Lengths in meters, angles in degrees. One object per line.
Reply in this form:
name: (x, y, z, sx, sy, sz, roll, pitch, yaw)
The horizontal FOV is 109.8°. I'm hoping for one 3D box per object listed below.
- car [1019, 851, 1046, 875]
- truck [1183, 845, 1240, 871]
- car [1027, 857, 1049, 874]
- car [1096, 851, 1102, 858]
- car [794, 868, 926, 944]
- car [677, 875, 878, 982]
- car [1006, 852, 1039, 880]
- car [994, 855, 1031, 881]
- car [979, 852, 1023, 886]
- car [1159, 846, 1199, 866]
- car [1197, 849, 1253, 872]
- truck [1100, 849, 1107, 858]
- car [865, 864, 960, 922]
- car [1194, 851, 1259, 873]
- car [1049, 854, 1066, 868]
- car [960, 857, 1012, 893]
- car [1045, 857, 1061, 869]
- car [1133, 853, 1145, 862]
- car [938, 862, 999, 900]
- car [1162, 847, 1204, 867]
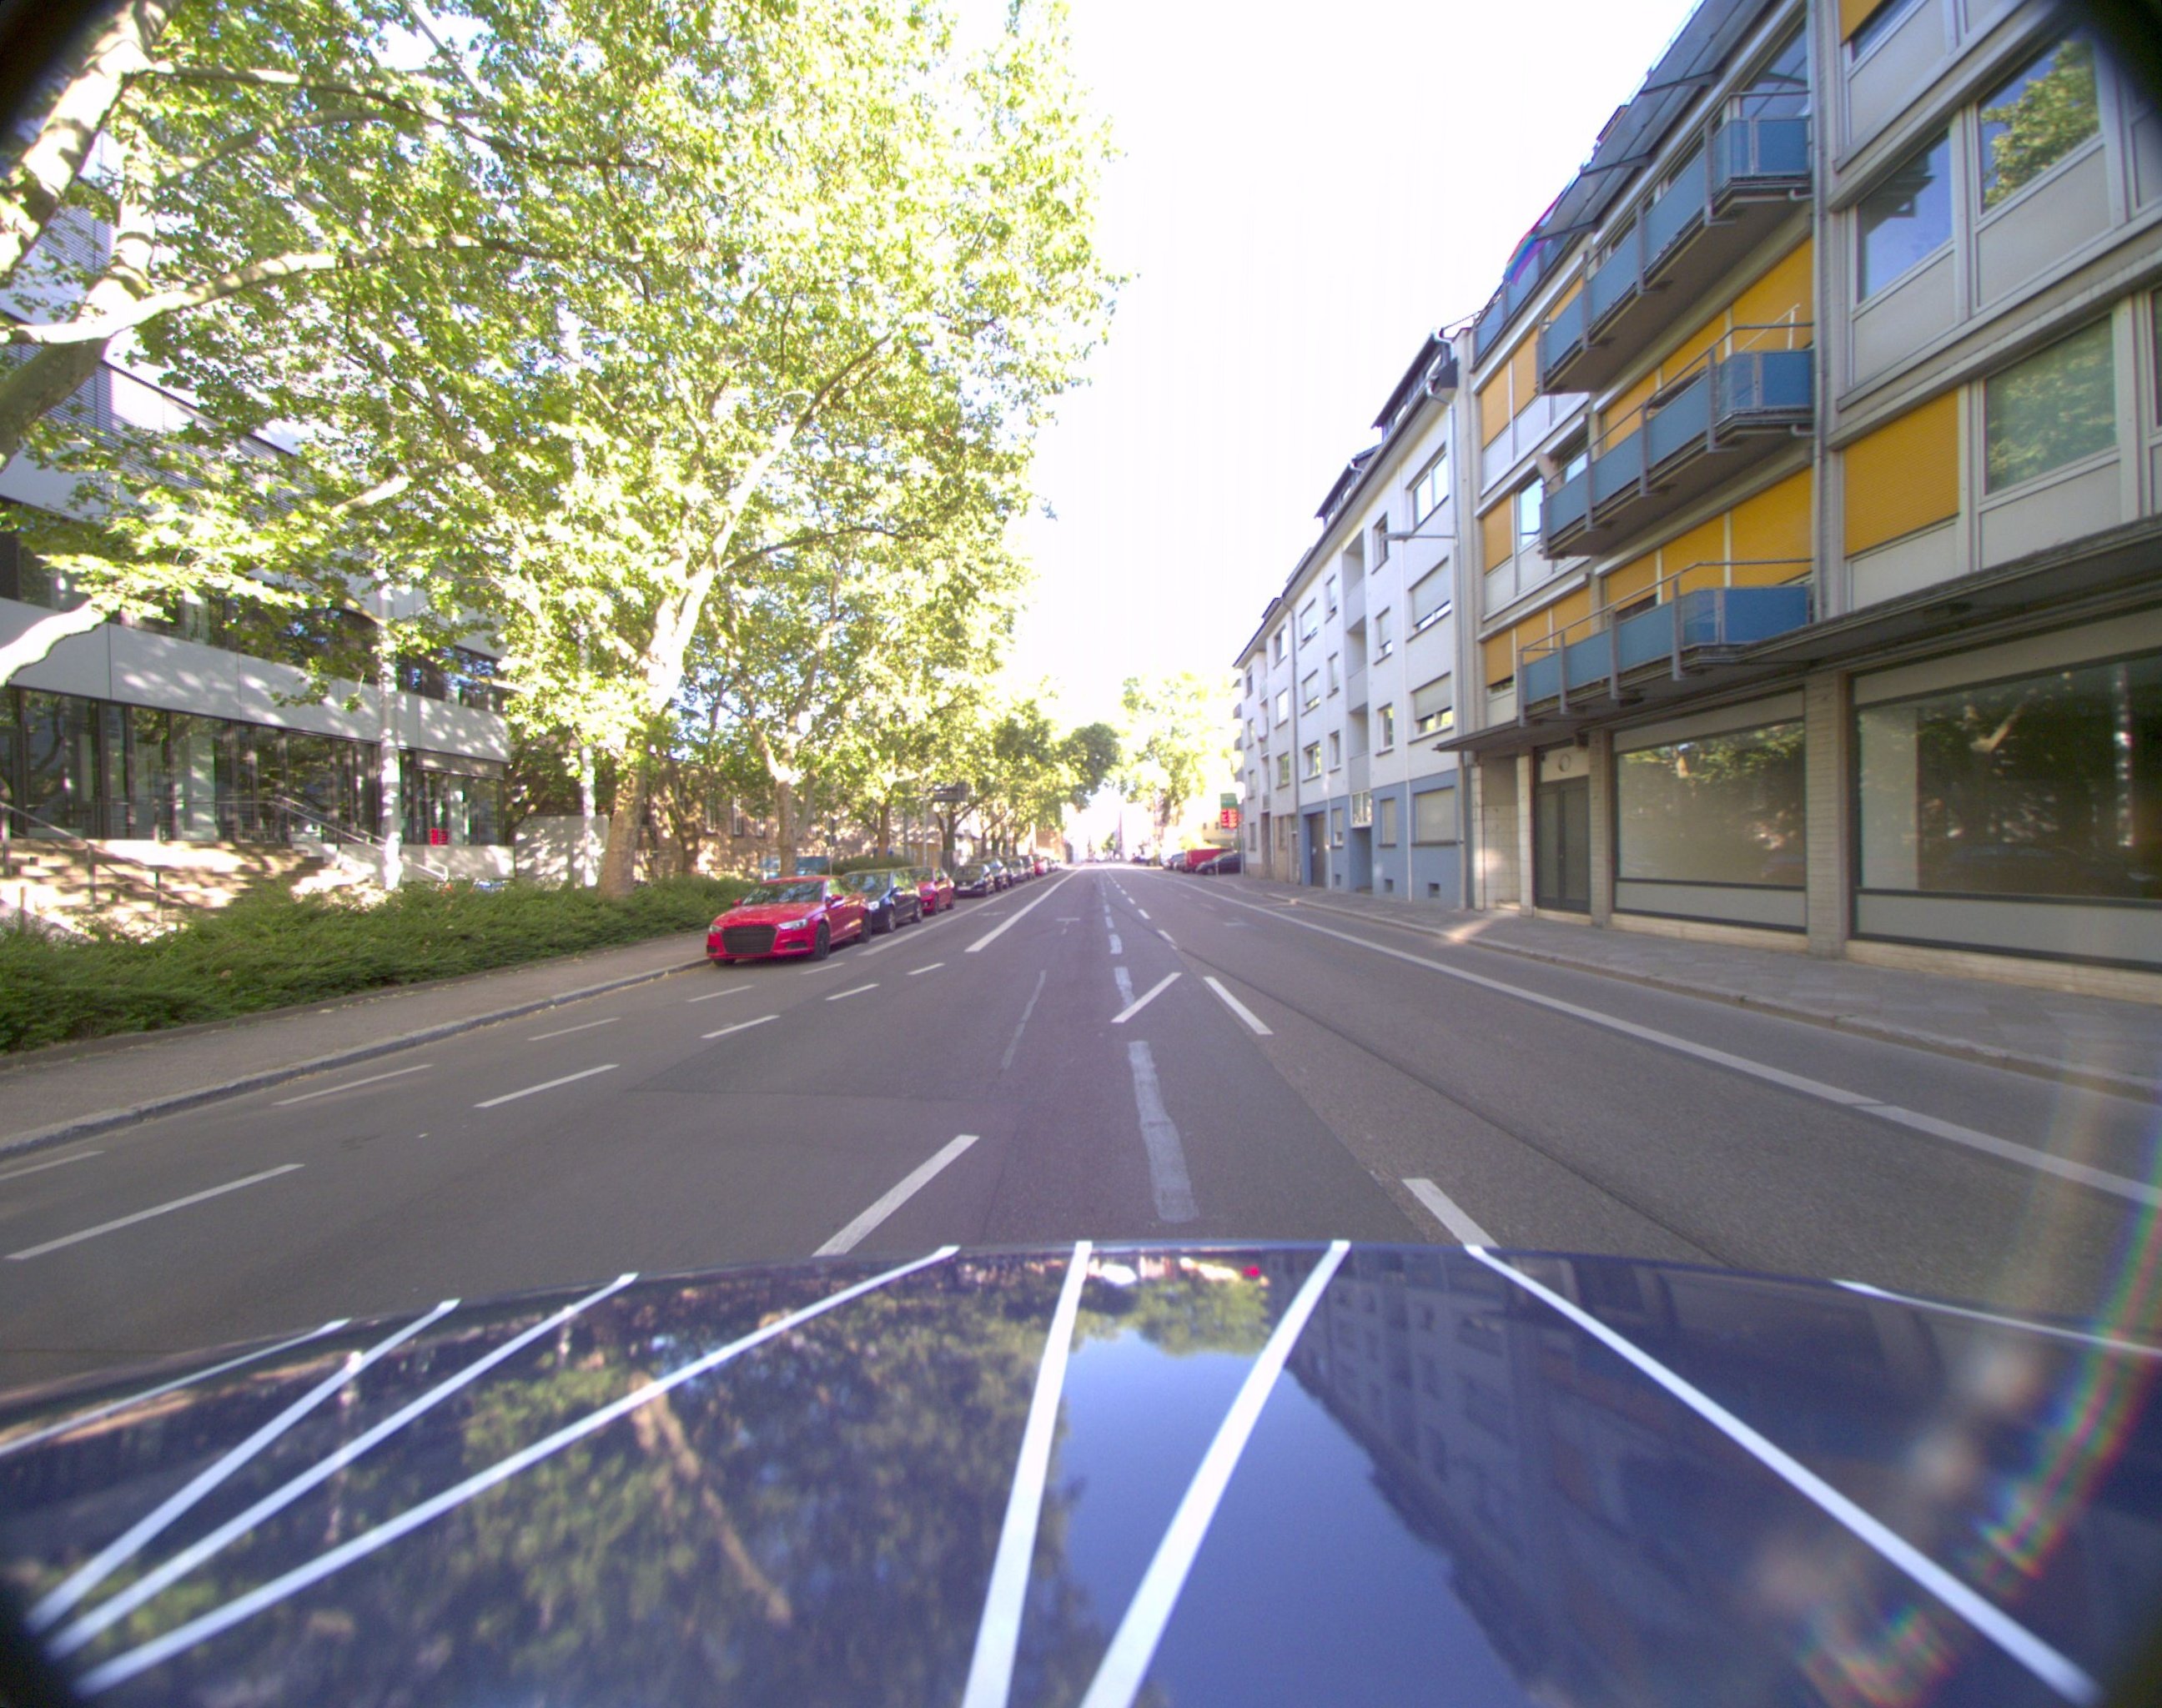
car: (-4.226, 0.763, 66.392, 1.998, 1.960, 3.999, -2, 1, 1)
truck: (10.283, 0.319, 60.220, 4.092, 1.913, 2.000, -2, 1, 0)
car: (-4.040, 1.081, 72.005, 1.824, 1.466, 3.999, -2, 1, 1)
car: (6.156, 0.188, 259.463, 1.998, 2.002, 3.999, -2, 1, 1)
car: (-5.175, 1.167, 18.337, 1.998, 1.452, 3.644, -2, 1, 1)
car: (-5.190, 1.196, 13.645, 1.907, 1.417, 3.999, -2, 1, 1)
car: (-4.246, 0.843, 55.603, 1.998, 1.838, 3.999, -2, 1, 1)
car: (-4.541, 0.929, 50.922, 1.998, 1.557, 4.142, -2, 1, 1)
car: (-4.611, 0.837, 44.524, 1.998, 1.777, 4.572, -2, 1, 1)
car: (10.945, 0.216, 85.321, 4.236, 2.025, 2.000, -2, 1, 3)
car: (10.798, 0.449, 57.123, 3.810, 1.563, 1.658, -2, 1, 0)
truck: (6.869, -0.298, 233.831, 1.998, 2.653, 5.314, -2, 1, 0)
car: (-5.131, 1.148, 23.681, 1.998, 1.490, 3.828, -2, 1, 1)
car: (10.452, 0.571, 54.791, 4.324, 1.398, 1.658, -2, 1, 0)
car: (-3.190, 0.905, 103.016, 1.998, 1.682, 3.999, -2, 1, 1)
car: (-4.687, 1.004, 38.132, 1.998, 1.592, 4.142, -2, 1, 1)
car: (-3.351, 1.069, 92.745, 1.693, 1.364, 3.999, -2, 1, 1)
car: (11.658, 0.760, 152.682, 1.845, 1.668, 4.003, -3, 1, 13)
car: (-4.841, 1.128, 33.187, 1.998, 1.447, 3.589, -2, 1, 1)
car: (10.859, 0.282, 80.921, 4.236, 1.945, 2.000, -2, 1, 3)
